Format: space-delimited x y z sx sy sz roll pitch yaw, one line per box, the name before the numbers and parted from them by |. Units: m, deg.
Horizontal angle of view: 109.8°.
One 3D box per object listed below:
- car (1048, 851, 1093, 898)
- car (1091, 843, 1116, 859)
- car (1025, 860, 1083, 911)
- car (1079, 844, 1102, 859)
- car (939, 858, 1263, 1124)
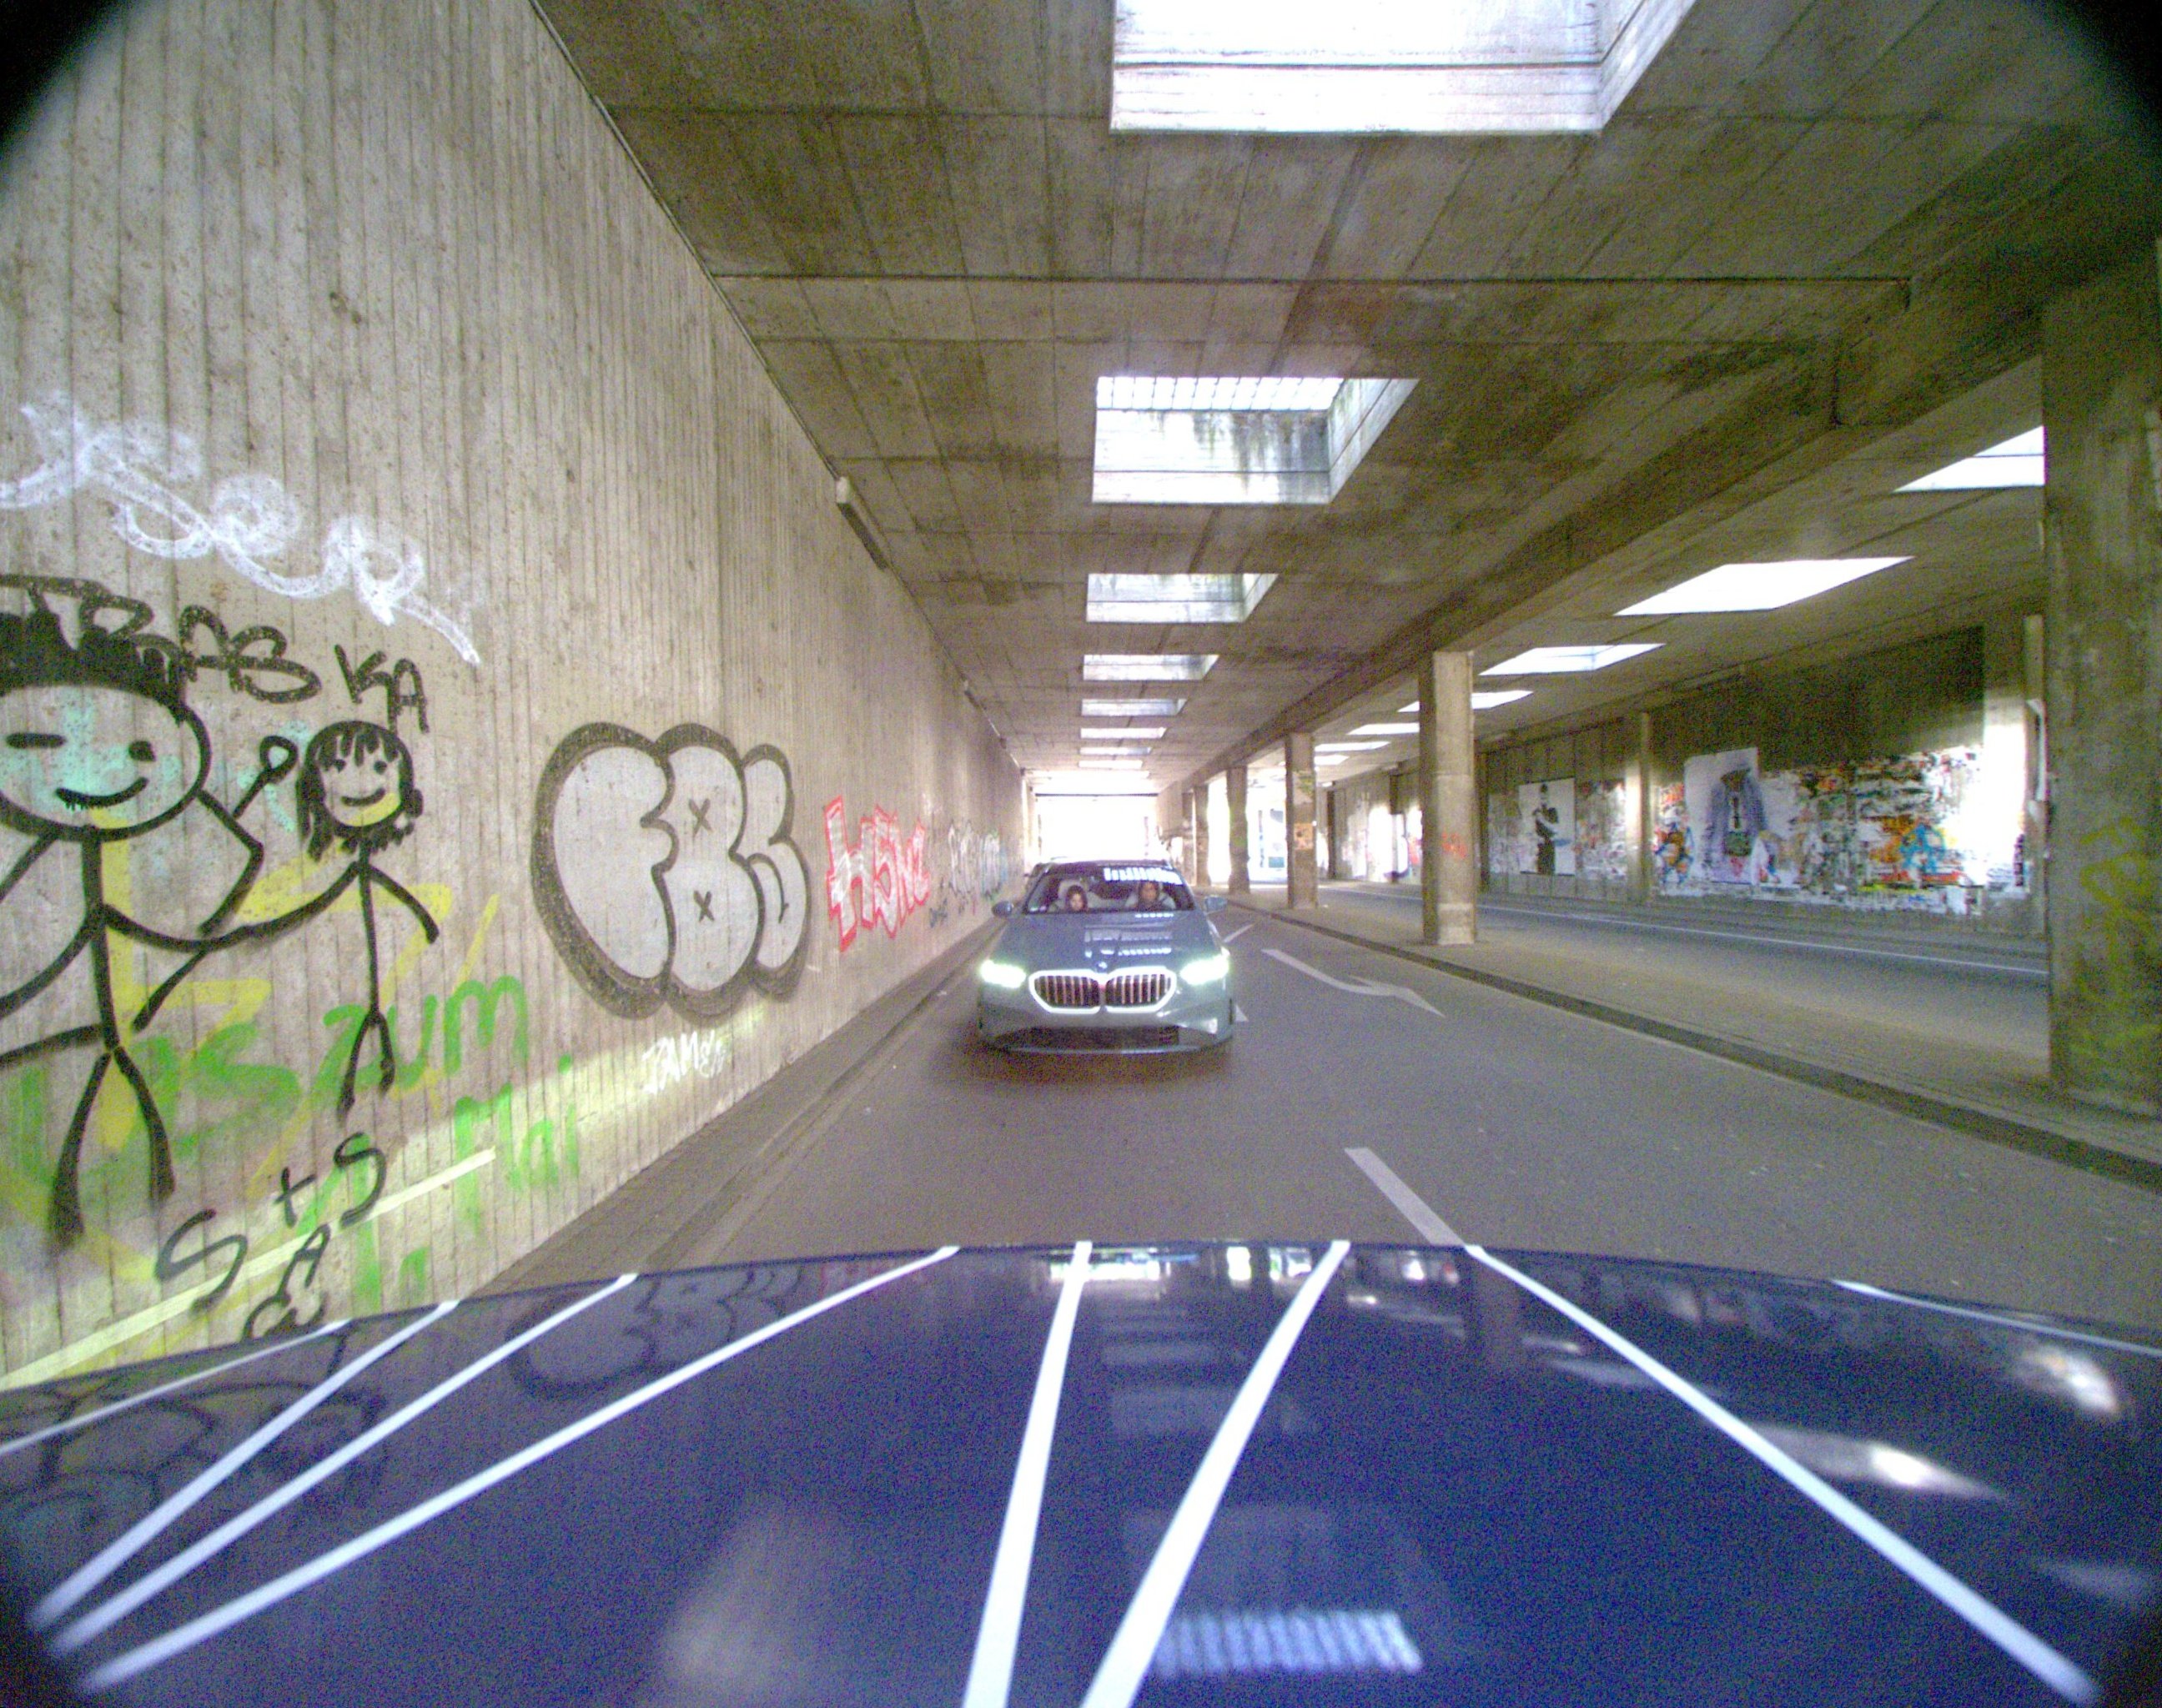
car | -0.352 0.755 29.917 1.581 1.676 4.078 -2 0 1
car | 2.882 -0.356 97.548 2.361 2.002 5.146 -1 0 -8
car | -0.775 0.938 23.911 1.593 1.387 3.833 -2 0 1
car | 1.229 -0.364 103.561 2.361 2.002 5.146 -1 0 -8
car | 0.175 0.874 7.335 1.998 1.594 5.176 -1 0 1
